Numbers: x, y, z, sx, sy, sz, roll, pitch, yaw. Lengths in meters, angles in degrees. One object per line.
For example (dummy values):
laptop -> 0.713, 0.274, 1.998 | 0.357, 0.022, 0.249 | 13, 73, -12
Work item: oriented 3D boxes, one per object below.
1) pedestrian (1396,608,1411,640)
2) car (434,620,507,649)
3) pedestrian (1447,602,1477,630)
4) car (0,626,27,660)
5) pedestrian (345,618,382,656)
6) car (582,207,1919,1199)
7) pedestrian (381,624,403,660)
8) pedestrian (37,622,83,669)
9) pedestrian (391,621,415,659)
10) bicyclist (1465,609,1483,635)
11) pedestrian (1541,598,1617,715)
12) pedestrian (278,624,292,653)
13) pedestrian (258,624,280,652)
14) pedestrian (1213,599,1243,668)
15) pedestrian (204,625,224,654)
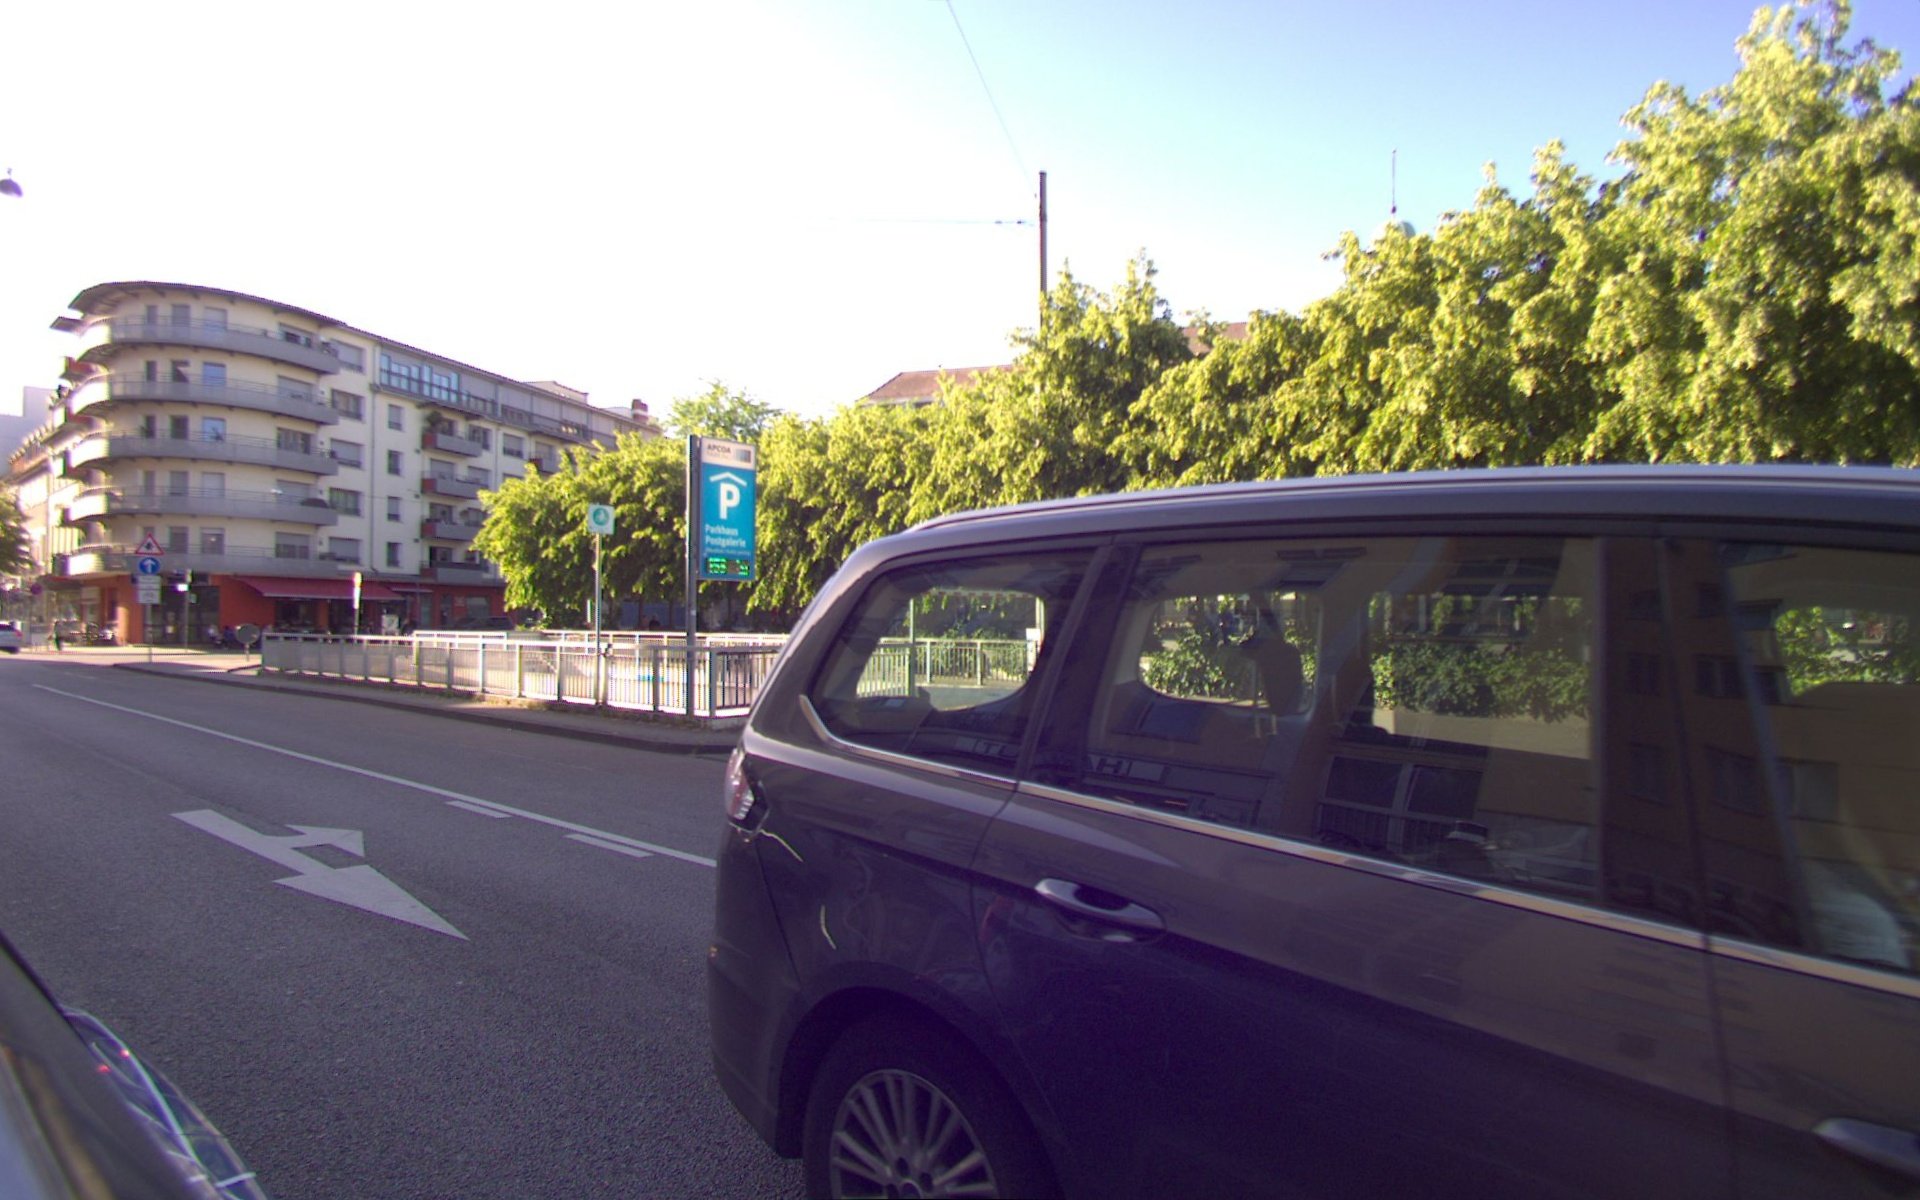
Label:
pedestrian -> 27.213, 1.469, 62.116 | 0.751, 1.948, 0.938 | -1, -1, 20
car -> -30.518, 2.125, 63.210 | 1.983, 1.763, 3.977 | -1, -1, 17
pedestrian -> 34.363, 1.106, 69.291 | 1.431, 1.926, 1.257 | -1, -1, 0
car -> -42.891, 1.878, 43.863 | 4.216, 1.445, 1.793 | -1, -1, 18
pedestrian -> -32.721, 2.004, 55.522 | 1.251, 2.029, 1.226 | -1, -1, 19
car -> 1.508, 0.538, 1.734 | 4.724, 1.785, 1.973 | -1, -2, 40
pedestrian -> -27.391, 2.014, 48.793 | 0.697, 1.719, 0.667 | -1, -1, 33
pedestrian -> -40.663, 2.041, 45.720 | 1.010, 2.029, 1.196 | -1, 0, 11
pedestrian -> -27.155, 1.951, 49.367 | 0.753, 1.819, 0.748 | -1, -1, 25
bicyclist -> 28.796, 1.245, 56.721 | 0.665, 1.439, 0.697 | -1, -1, 8
pedestrian -> 9.773, 0.865, 15.982 | 0.885, 1.771, 0.738 | 0, -1, -39
pedestrian -> -35.308, 2.016, 52.898 | 0.573, 1.501, 0.794 | 0, -1, -36
pedestrian -> -36.728, 2.021, 53.778 | 0.782, 1.473, 0.582 | 0, -1, 3
pedestrian -> 6.642, 0.820, 25.129 | 0.672, 1.683, 0.843 | -1, -1, 13
pedestrian -> -37.731, 1.983, 51.208 | 0.780, 1.472, 0.583 | 0, -1, -40
